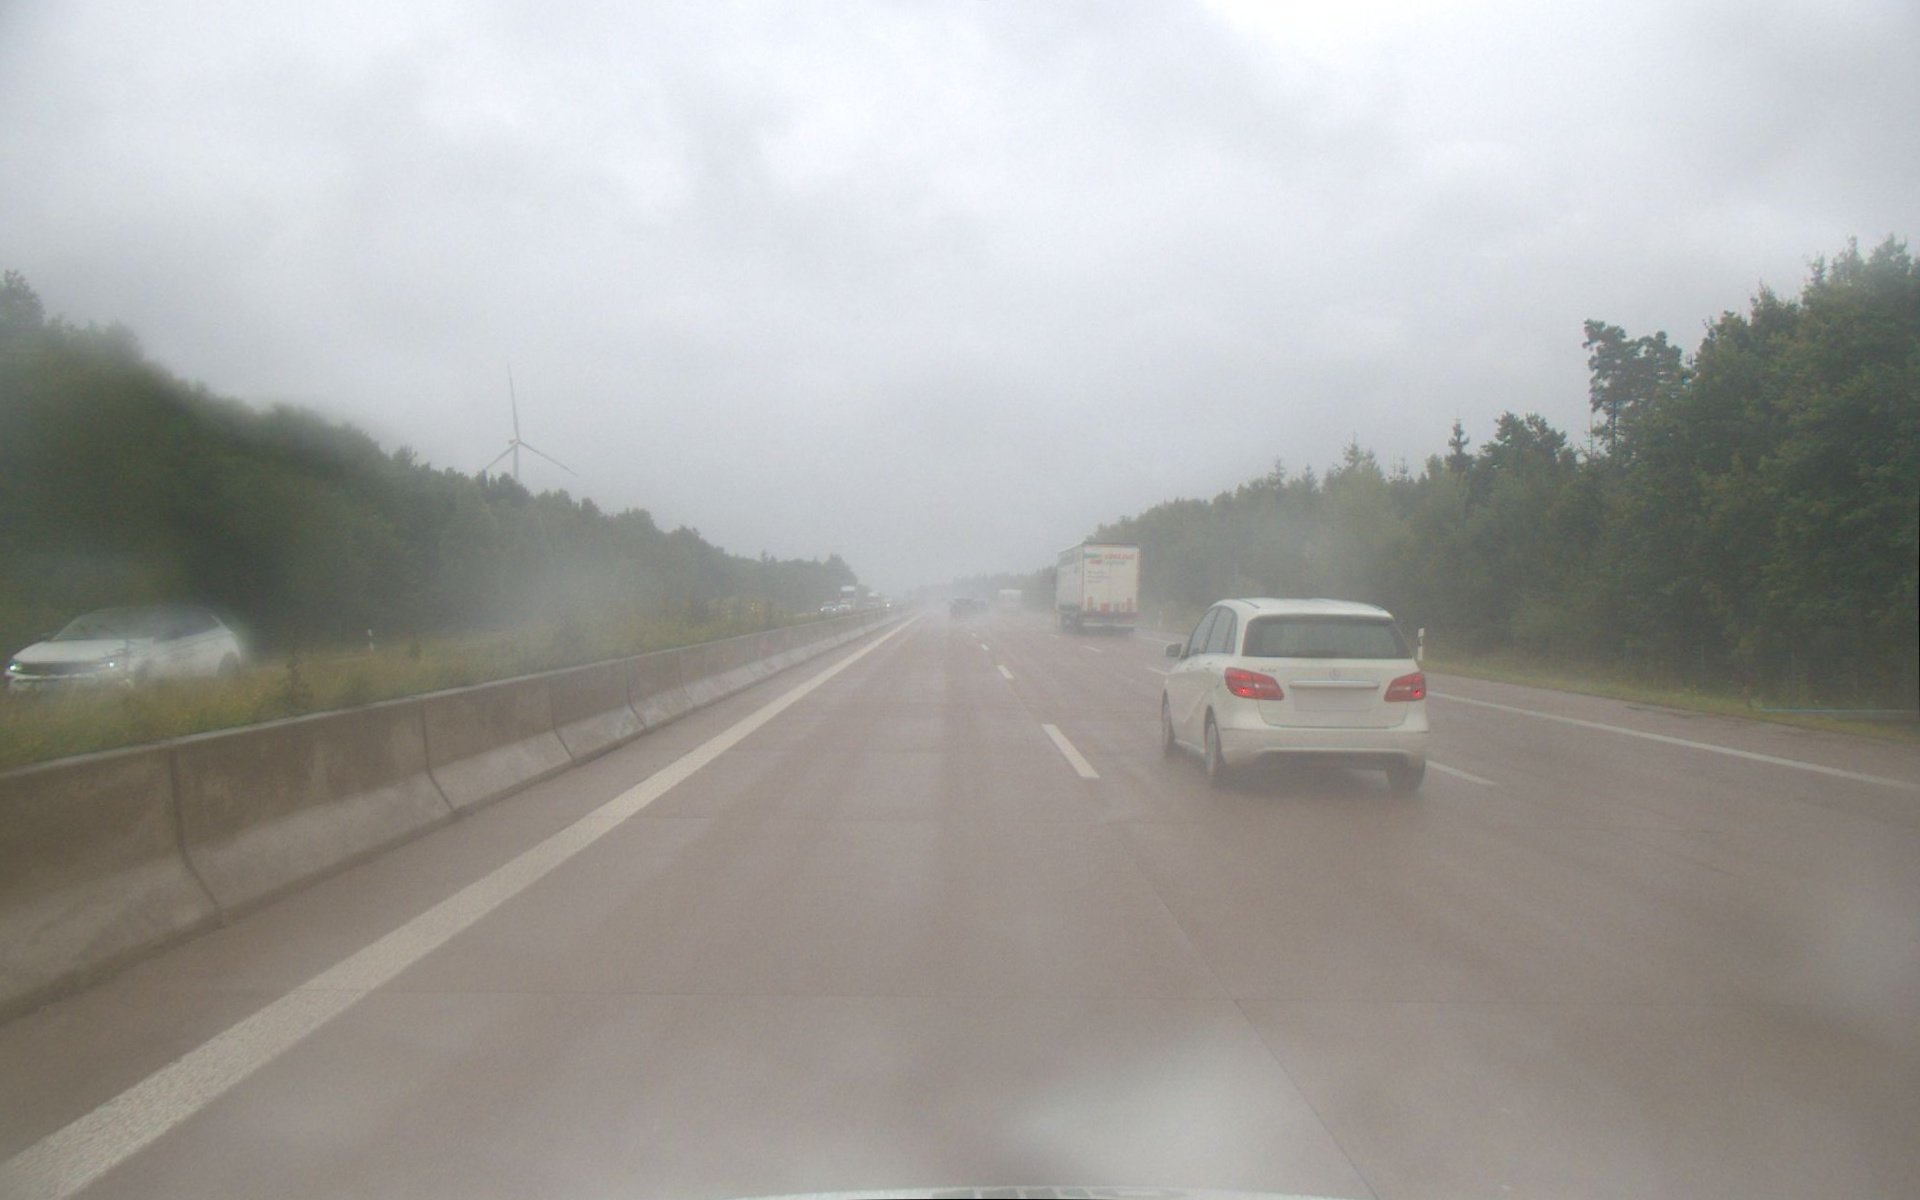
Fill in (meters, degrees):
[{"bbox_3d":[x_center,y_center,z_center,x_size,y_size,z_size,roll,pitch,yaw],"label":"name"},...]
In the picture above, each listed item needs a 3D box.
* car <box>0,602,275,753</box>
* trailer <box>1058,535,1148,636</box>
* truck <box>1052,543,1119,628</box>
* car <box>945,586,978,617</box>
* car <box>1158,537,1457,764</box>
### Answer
[{"bbox_3d":[-12.384,1.063,25.079,2.046,2.049,4.797,1,0,-1],"label":"car"},{"bbox_3d":[6.618,-0.685,78.647,2.795,4.305,13.128,-1,0,-1],"label":"trailer"},{"bbox_3d":[6.461,-0.749,85.945,2.822,4.178,6.348,-1,0,-1],"label":"truck"},{"bbox_3d":[0.098,0.102,113.431,2.129,2.016,4.130,3,0,0],"label":"car"},{"bbox_3d":[3.041,0.404,15.490,1.771,1.758,4.743,1,0,0],"label":"car"}]
